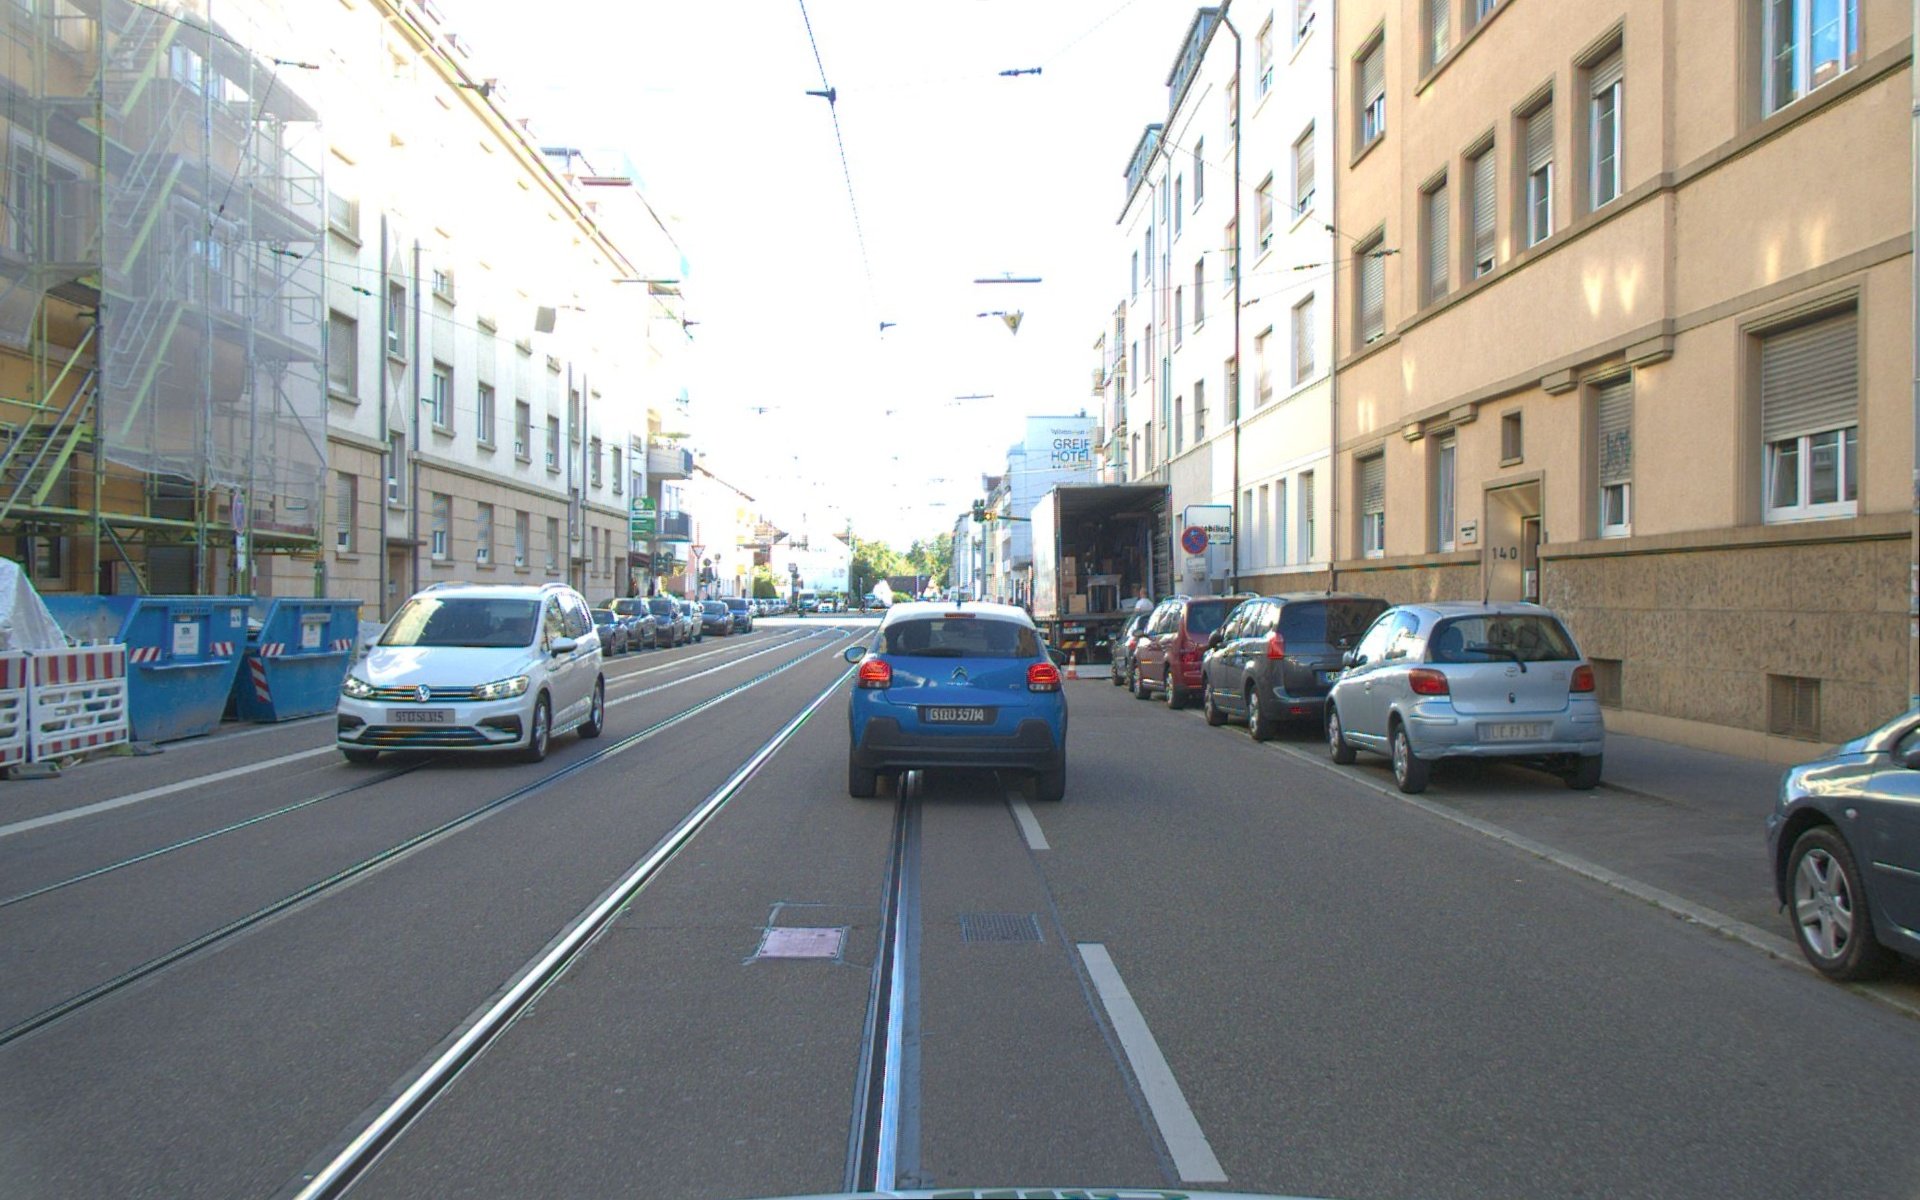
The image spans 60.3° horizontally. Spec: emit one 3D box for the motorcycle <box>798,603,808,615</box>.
[{"bbox_3d":[-12.232,0.685,128.832,0.603,0.879,1.671,0,0,2],"label":"motorcycle"}]

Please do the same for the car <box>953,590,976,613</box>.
[{"bbox_3d":[0.342,0.119,128.682,1.697,1.780,3.213,1,0,-1],"label":"car"}]

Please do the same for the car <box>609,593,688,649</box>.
[{"bbox_3d":[-9.540,0.636,50.912,1.665,1.596,3.999,2,-1,-1],"label":"car"}]

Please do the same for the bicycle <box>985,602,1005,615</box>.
[{"bbox_3d":[2.669,0.654,127.070,1.472,0.973,0.702,0,0,3],"label":"bicycle"}]

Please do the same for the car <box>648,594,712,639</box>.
[{"bbox_3d":[-10.254,0.613,60.832,1.665,1.536,4.384,2,-1,-2],"label":"car"}]

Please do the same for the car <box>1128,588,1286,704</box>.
[{"bbox_3d":[3.777,0.660,25.984,1.560,1.637,4.243,-1,0,-4],"label":"car"}]

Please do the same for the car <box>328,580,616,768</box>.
[{"bbox_3d":[-4.662,0.630,16.425,1.784,1.596,4.198,-1,0,-3],"label":"car"}]

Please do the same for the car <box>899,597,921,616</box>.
[{"bbox_3d":[-4.542,0.601,149.839,1.953,1.646,3.999,1,0,-1],"label":"car"}]

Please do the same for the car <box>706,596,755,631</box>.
[{"bbox_3d":[-10.588,0.608,76.564,1.709,1.536,3.999,2,-1,-1],"label":"car"}]

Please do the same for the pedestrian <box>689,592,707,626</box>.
[{"bbox_3d":[-12.194,0.422,76.906,0.683,1.575,0.721,0,0,2],"label":"pedestrian"}]

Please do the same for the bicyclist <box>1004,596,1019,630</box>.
[{"bbox_3d":[2.547,0.637,81.498,0.711,1.674,0.790,0,0,2],"label":"bicyclist"}]

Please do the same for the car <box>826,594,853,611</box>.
[{"bbox_3d":[-12.434,0.239,170.689,1.781,1.668,3.978,0,0,-19],"label":"car"}]

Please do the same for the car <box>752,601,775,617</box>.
[{"bbox_3d":[-18.904,0.836,159.458,1.872,1.523,3.998,0,0,-2],"label":"car"}]

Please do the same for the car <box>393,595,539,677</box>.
[{"bbox_3d":[-9.736,0.687,32.905,1.665,1.440,3.999,3,-1,-1],"label":"car"}]

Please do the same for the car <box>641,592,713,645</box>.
[{"bbox_3d":[-9.413,0.612,55.311,1.665,1.644,4.243,2,-1,-1],"label":"car"}]

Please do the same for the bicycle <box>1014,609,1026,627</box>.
[{"bbox_3d":[2.957,0.890,81.451,0.488,0.879,1.748,0,0,0],"label":"bicycle"}]

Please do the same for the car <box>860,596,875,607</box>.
[{"bbox_3d":[-12.937,0.168,231.067,1.980,1.552,3.998,0,0,-2],"label":"car"}]

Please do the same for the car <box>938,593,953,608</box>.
[{"bbox_3d":[-1.660,0.084,192.466,1.654,1.646,3.999,1,0,-1],"label":"car"}]

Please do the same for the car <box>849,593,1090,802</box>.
[{"bbox_3d":[-0.059,0.704,14.007,1.709,1.488,3.997,1,0,-4],"label":"car"}]

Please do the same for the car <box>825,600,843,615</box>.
[{"bbox_3d":[-13.460,0.779,176.600,1.813,1.601,4.398,0,0,-4],"label":"car"}]

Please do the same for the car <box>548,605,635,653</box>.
[{"bbox_3d":[-10.171,0.783,45.898,1.665,1.237,3.784,2,-1,-2],"label":"car"}]

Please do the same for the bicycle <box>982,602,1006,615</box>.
[{"bbox_3d":[2.612,0.656,128.132,1.834,0.973,0.702,0,0,3],"label":"bicycle"}]

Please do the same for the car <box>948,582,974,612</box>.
[{"bbox_3d":[0.071,-0.219,133.612,1.953,2.366,3.999,1,0,-1],"label":"car"}]

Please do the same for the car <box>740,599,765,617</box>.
[{"bbox_3d":[-18.483,0.705,147.725,1.872,1.523,3.998,0,0,-2],"label":"car"}]

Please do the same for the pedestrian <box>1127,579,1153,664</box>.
[{"bbox_3d":[3.863,0.452,35.514,0.502,1.806,0.415,0,0,-1],"label":"pedestrian"}]

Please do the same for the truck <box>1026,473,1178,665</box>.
[{"bbox_3d":[3.308,-0.687,41.809,2.801,4.144,11.778,-1,0,0],"label":"truck"}]

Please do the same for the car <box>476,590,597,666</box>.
[{"bbox_3d":[-9.619,0.594,37.889,1.665,1.595,4.405,-1,0,-1],"label":"car"}]

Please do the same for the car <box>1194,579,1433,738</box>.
[{"bbox_3d":[4.128,0.624,20.057,1.754,1.680,4.364,-1,0,-3],"label":"car"}]

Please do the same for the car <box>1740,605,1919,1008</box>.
[{"bbox_3d":[4.398,0.769,5.429,1.664,1.477,4.206,-1,0,0],"label":"car"}]

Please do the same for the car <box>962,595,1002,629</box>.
[{"bbox_3d":[1.016,0.515,74.418,1.702,1.445,4.001,0,0,2],"label":"car"}]

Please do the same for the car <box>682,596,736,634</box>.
[{"bbox_3d":[-10.723,0.646,70.939,1.665,1.536,4.311,2,-1,-1],"label":"car"}]

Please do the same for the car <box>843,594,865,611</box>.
[{"bbox_3d":[-9.946,0.239,155.472,1.953,1.534,3.999,0,0,-1],"label":"car"}]

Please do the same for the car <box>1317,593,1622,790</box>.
[{"bbox_3d":[4.335,0.703,14.590,1.576,1.488,3.479,-1,0,0],"label":"car"}]

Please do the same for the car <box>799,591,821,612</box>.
[{"bbox_3d":[-16.403,0.139,181.259,2.162,2.290,4.675,0,0,-2],"label":"car"}]

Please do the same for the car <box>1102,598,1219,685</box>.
[{"bbox_3d":[3.701,0.722,31.100,1.551,1.489,3.879,-1,0,-2],"label":"car"}]
